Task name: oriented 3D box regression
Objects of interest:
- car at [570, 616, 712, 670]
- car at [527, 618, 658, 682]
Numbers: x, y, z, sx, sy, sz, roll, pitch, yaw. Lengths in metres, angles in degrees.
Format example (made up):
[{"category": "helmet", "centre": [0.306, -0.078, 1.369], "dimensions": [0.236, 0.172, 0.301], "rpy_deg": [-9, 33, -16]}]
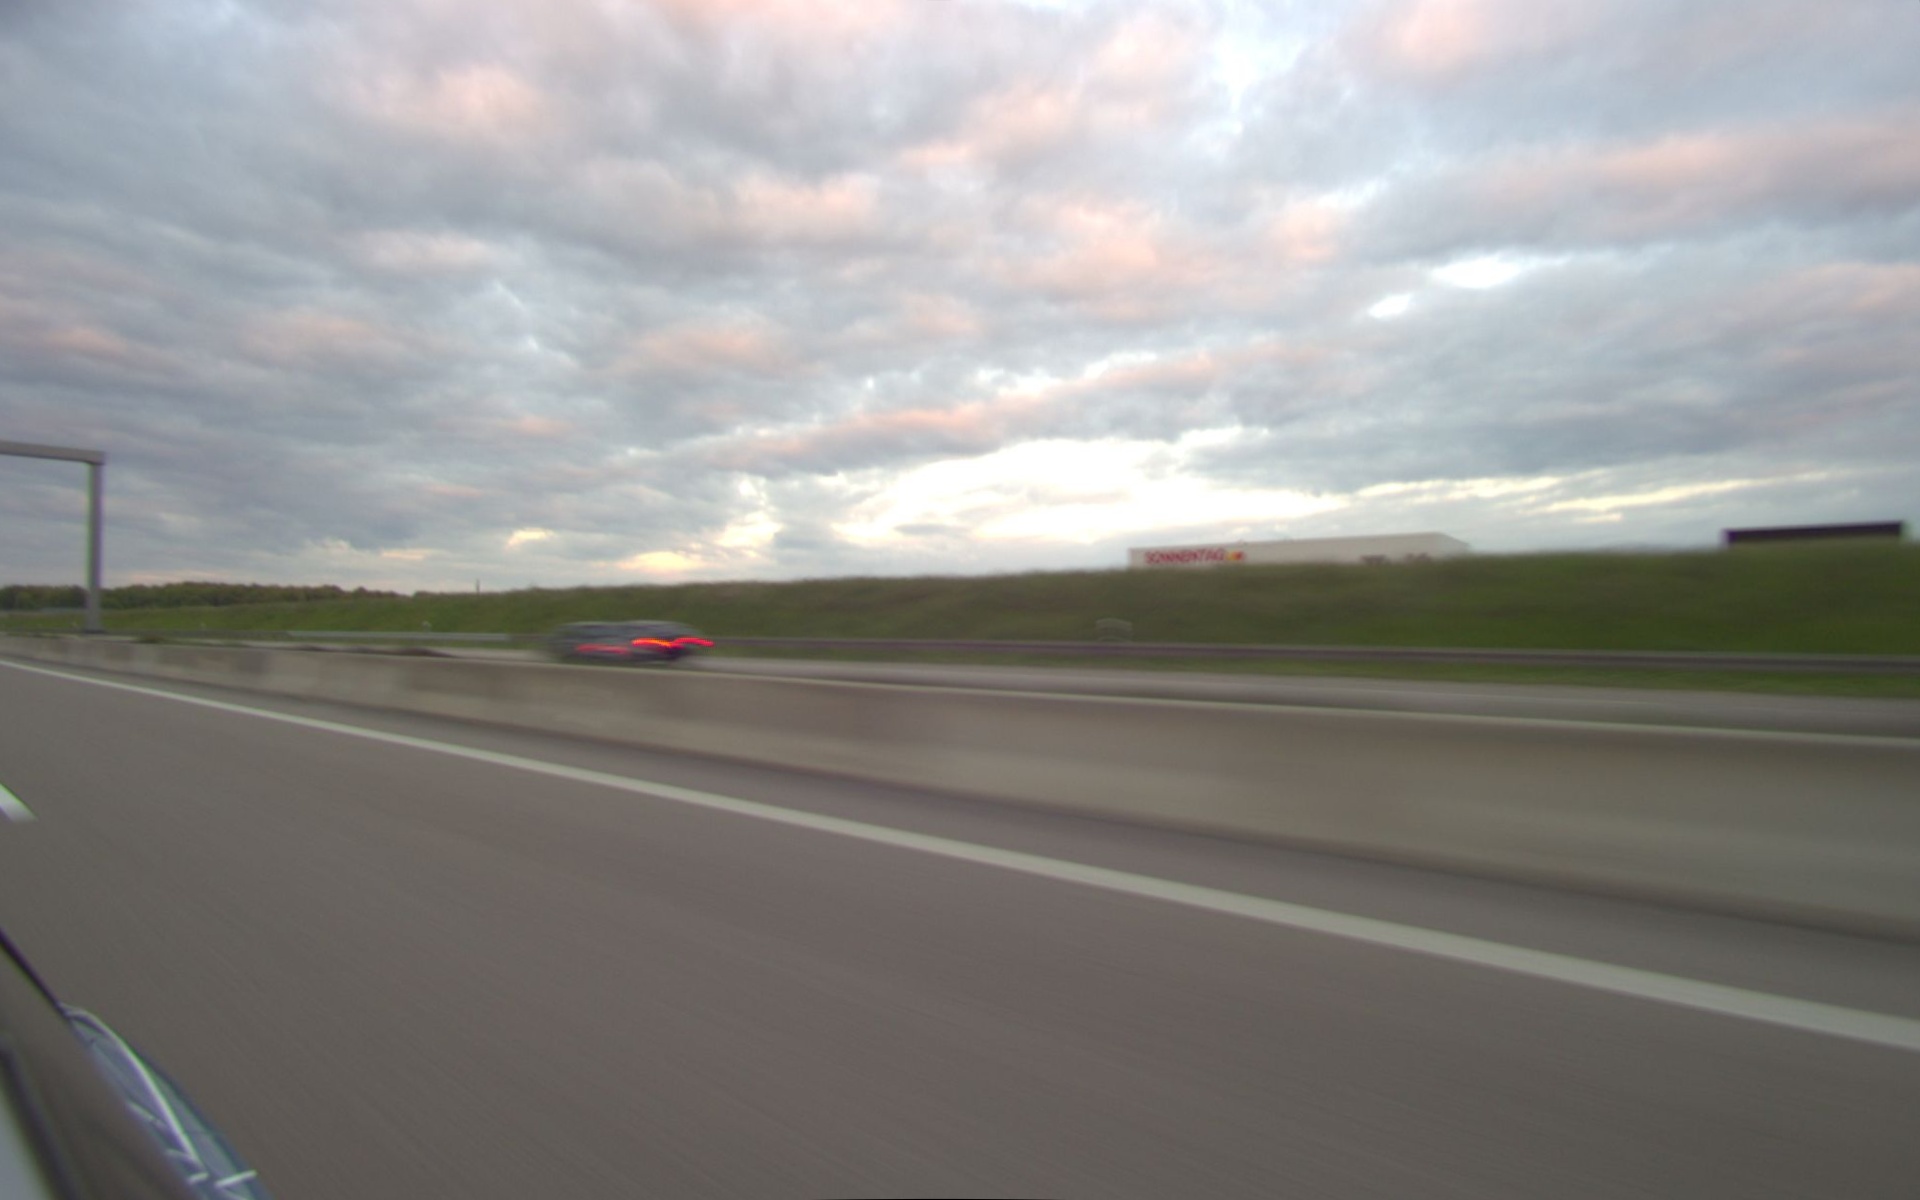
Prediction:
[{"category": "car", "centre": [-10.460, 1.349, 32.964], "dimensions": [5.196, 1.614, 1.973], "rpy_deg": [-1, -1, 40]}, {"category": "car", "centre": [-10.237, 1.335, 28.043], "dimensions": [4.000, 1.641, 1.799], "rpy_deg": [-1, -1, 43]}]
